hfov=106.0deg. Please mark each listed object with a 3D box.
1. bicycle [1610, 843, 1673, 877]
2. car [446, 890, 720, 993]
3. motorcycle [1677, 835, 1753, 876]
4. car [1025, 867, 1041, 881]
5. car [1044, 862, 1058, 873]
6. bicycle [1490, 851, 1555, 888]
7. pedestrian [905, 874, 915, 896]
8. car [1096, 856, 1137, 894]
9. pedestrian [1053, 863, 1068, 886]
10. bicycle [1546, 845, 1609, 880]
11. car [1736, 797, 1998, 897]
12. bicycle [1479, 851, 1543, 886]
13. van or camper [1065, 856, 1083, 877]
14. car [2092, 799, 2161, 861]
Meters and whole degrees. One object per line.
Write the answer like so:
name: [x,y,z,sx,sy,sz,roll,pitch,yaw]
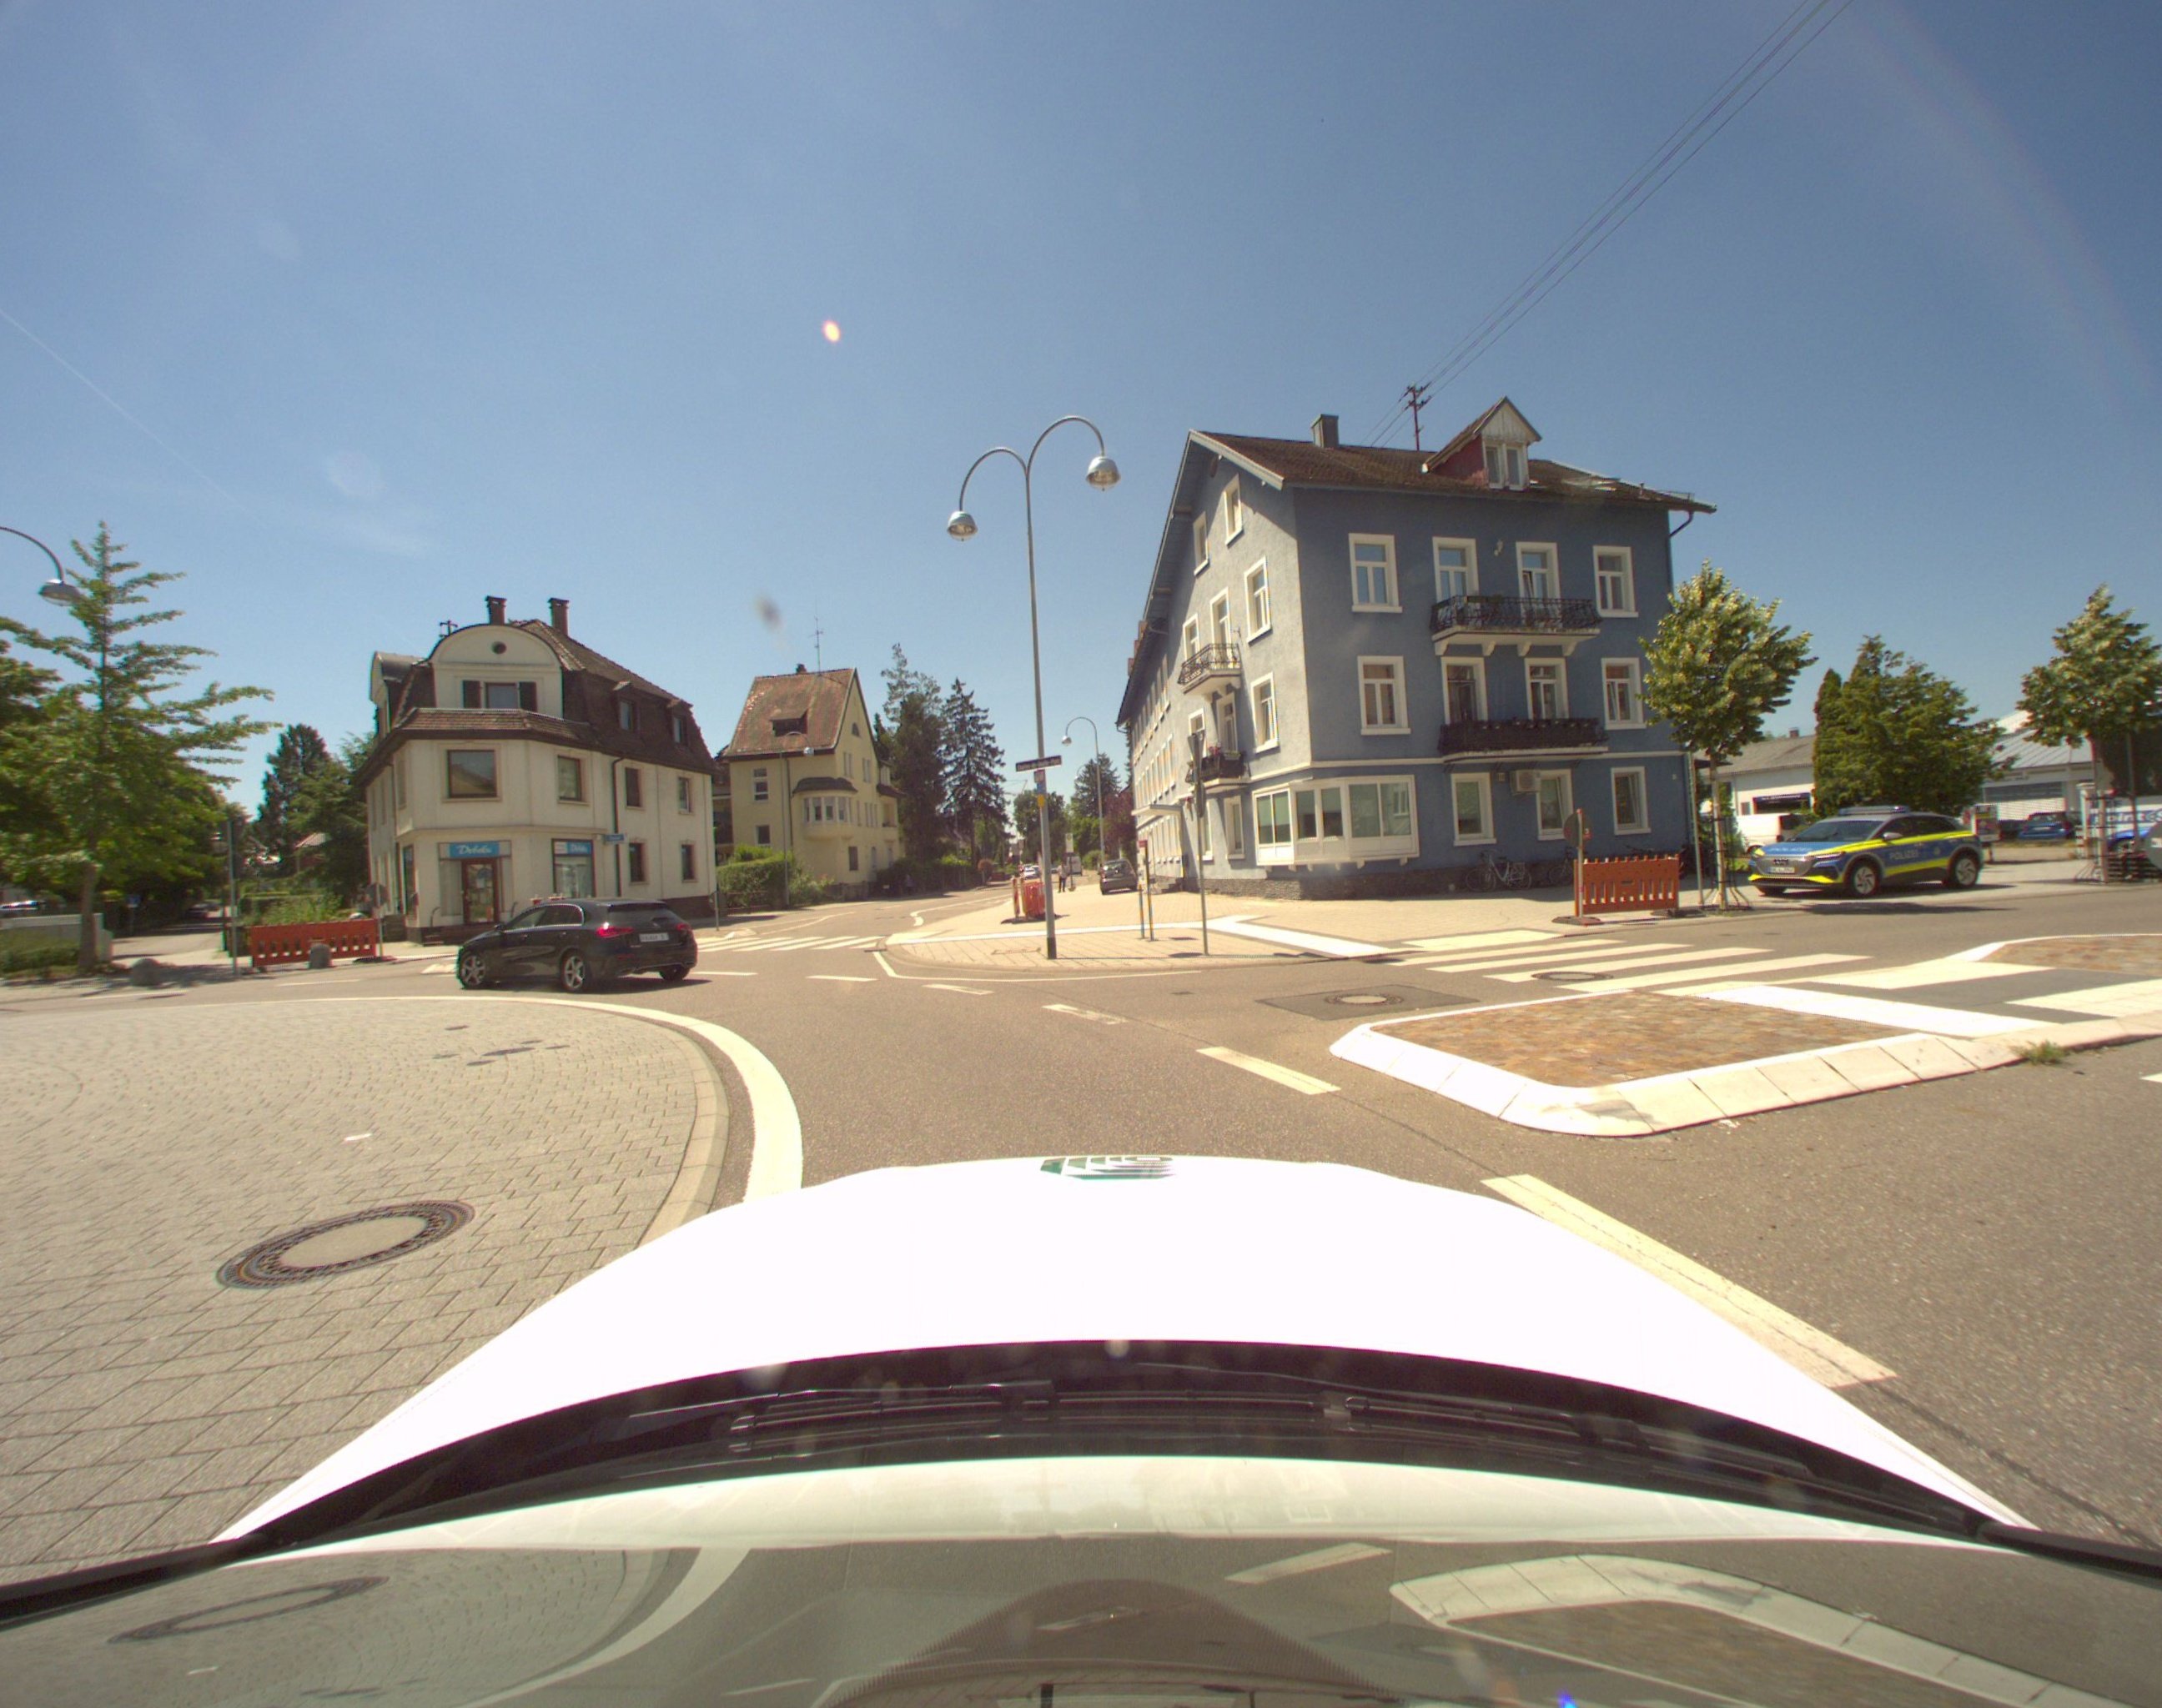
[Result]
bicycle: [16.594,0.163,24.104,1.709,0.907,0.479,-3,1,-13]
car: [-8.165,1.397,13.346,3.950,1.427,1.971,-4,-3,26]
motorcycle: [18.201,0.040,23.374,1.900,1.051,0.585,-3,1,-11]
car: [-6.580,2.733,111.857,1.987,1.651,3.999,-3,-1,0]
car: [-4.995,2.247,135.171,1.987,1.717,4.000,-3,-1,0]
bicycle: [12.254,0.427,22.614,1.709,0.907,0.438,-3,1,-13]
pedestrian: [-12.197,2.211,58.180,0.520,1.509,0.474,-3,-1,7]
car: [1.624,0.950,38.144,1.634,1.507,3.564,-7,0,1]
pedestrian: [-1.248,1.251,48.767,0.663,1.286,0.588,-7,-1,8]
bicycle: [14.334,0.232,23.512,1.709,0.907,0.479,-3,1,-13]
car: [16.239,-0.160,16.897,4.240,1.743,1.898,-3,0,-13]
bicycle: [12.187,0.406,23.069,1.709,0.907,0.438,-3,1,-13]
van or camper: [-0.988,1.715,108.571,2.199,2.611,3.998,-3,-1,-1]
car: [27.482,-0.629,19.027,1.904,1.480,4.444,0,-2,-16]
